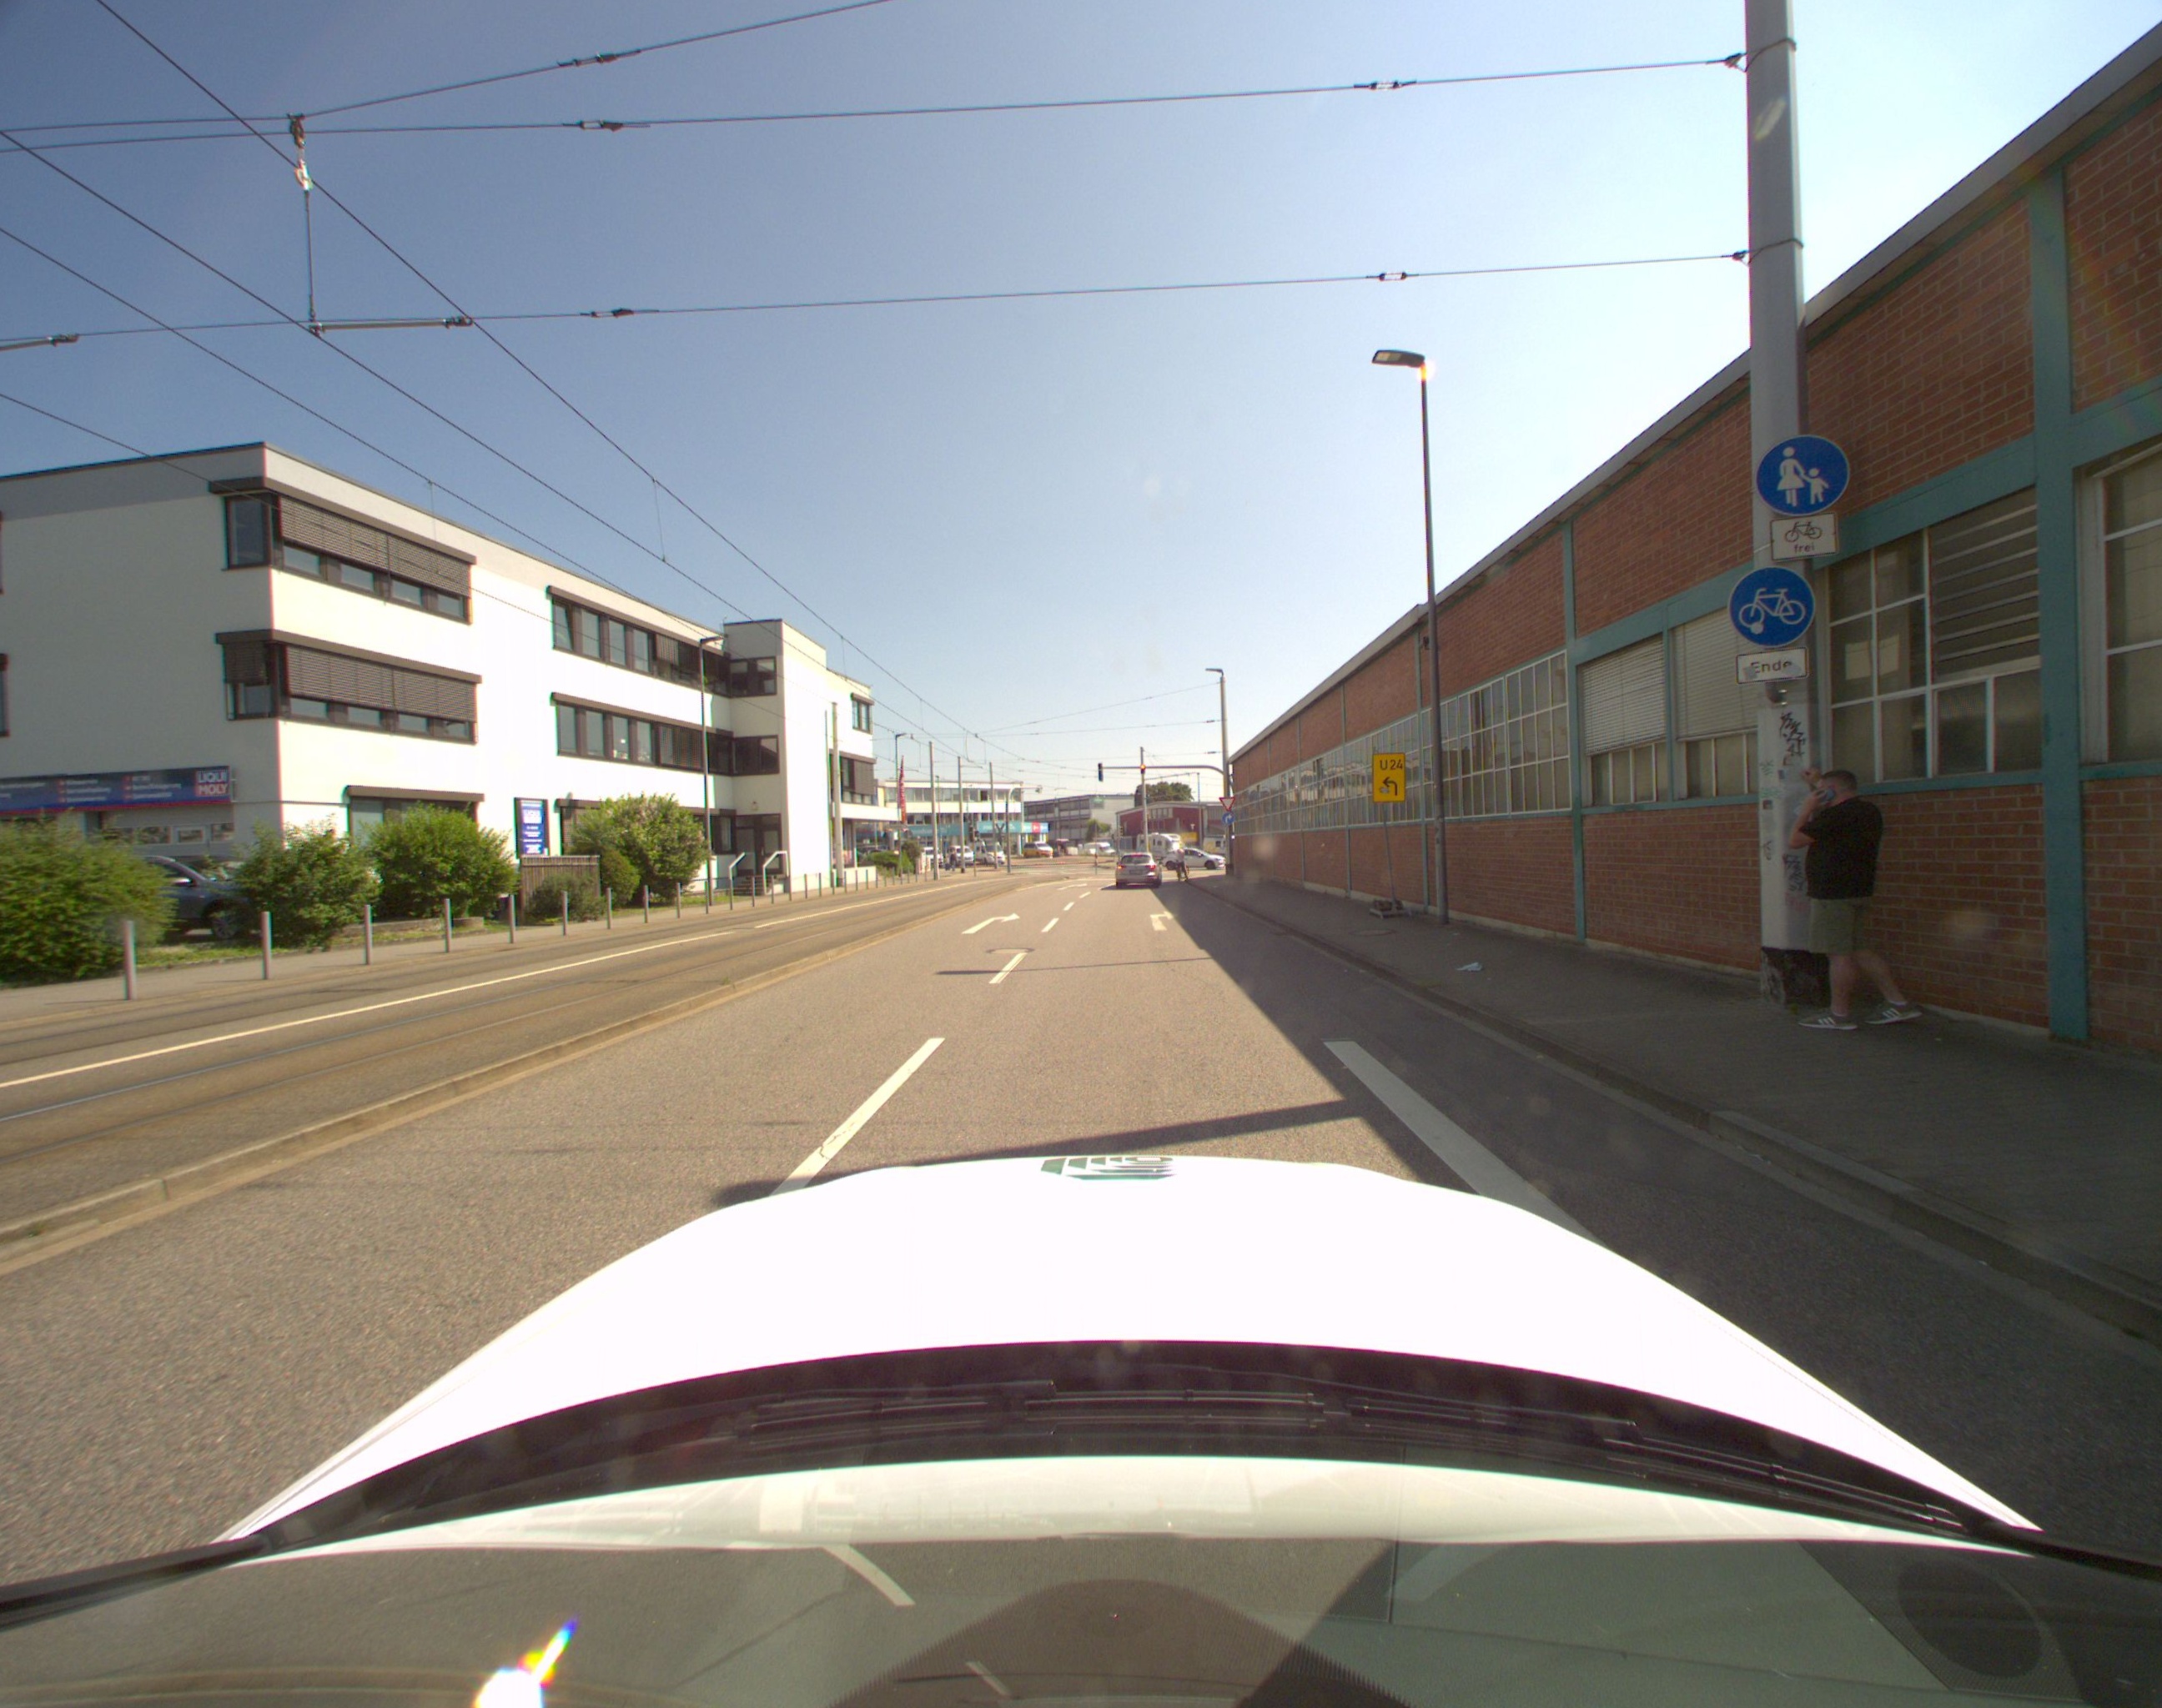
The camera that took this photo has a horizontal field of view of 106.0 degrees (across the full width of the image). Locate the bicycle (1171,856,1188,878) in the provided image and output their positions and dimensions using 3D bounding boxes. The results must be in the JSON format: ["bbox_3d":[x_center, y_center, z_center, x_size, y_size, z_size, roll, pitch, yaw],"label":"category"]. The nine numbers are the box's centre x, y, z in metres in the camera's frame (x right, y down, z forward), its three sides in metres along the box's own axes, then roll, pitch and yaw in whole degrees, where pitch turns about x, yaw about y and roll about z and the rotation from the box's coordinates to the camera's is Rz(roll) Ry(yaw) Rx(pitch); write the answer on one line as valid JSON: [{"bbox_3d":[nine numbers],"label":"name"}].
[{"bbox_3d":[4.792,0.621,39.622,0.790,1.021,2.155,-1,0,7],"label":"bicycle"}]

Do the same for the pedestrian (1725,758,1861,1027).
[{"bbox_3d":[4.989,0.240,5.720,0.452,1.764,0.678,-4,3,-43],"label":"pedestrian"}]

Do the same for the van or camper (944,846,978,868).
[{"bbox_3d":[-12.359,0.277,83.752,2.004,2.013,4.967,-3,3,-27],"label":"van or camper"}]

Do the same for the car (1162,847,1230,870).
[{"bbox_3d":[7.710,0.305,54.697,4.154,1.374,1.813,-2,0,22],"label":"car"}]

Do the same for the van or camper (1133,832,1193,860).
[{"bbox_3d":[9.006,-0.903,89.973,2.366,2.930,6.906,-4,3,-39],"label":"van or camper"}]

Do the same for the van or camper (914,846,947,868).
[{"bbox_3d":[-15.502,0.267,83.588,2.004,2.013,4.721,-3,3,-27],"label":"van or camper"}]

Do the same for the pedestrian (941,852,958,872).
[{"bbox_3d":[-10.158,0.615,62.936,1.128,1.455,0.836,-2,0,-7],"label":"pedestrian"}]

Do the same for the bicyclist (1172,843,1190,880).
[{"bbox_3d":[4.831,0.363,39.456,0.781,1.721,1.149,-2,0,6],"label":"bicyclist"}]

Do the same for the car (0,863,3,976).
[{"bbox_3d":[-17.083,0.909,10.467,3.969,1.706,2.003,-2,0,4],"label":"car"}]

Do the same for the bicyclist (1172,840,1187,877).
[{"bbox_3d":[5.015,0.218,41.542,0.704,1.810,0.984,-2,0,6],"label":"bicyclist"}]

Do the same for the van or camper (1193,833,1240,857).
[{"bbox_3d":[15.200,-1.032,91.583,2.298,2.439,5.332,-3,4,-33],"label":"van or camper"}]

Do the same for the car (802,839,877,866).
[{"bbox_3d":[-15.128,-0.109,51.064,3.967,1.563,2.003,-2,0,6],"label":"car"}]

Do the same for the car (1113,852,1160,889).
[{"bbox_3d":[2.445,0.663,34.920,1.737,1.459,4.008,-2,0,7],"label":"car"}]

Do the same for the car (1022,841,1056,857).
[{"bbox_3d":[-5.129,-0.579,98.815,1.951,1.759,5.073,-2,0,-30],"label":"car"}]

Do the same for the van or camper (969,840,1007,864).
[{"bbox_3d":[-9.798,-0.248,85.102,2.042,2.295,5.762,-3,3,-27],"label":"van or camper"}]

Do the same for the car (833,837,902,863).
[{"bbox_3d":[-14.365,-0.274,54.876,3.967,1.518,2.004,-1,2,6],"label":"car"}]

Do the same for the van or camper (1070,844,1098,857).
[{"bbox_3d":[0.473,-0.524,124.474,2.011,1.947,3.951,-2,0,-43],"label":"van or camper"}]
